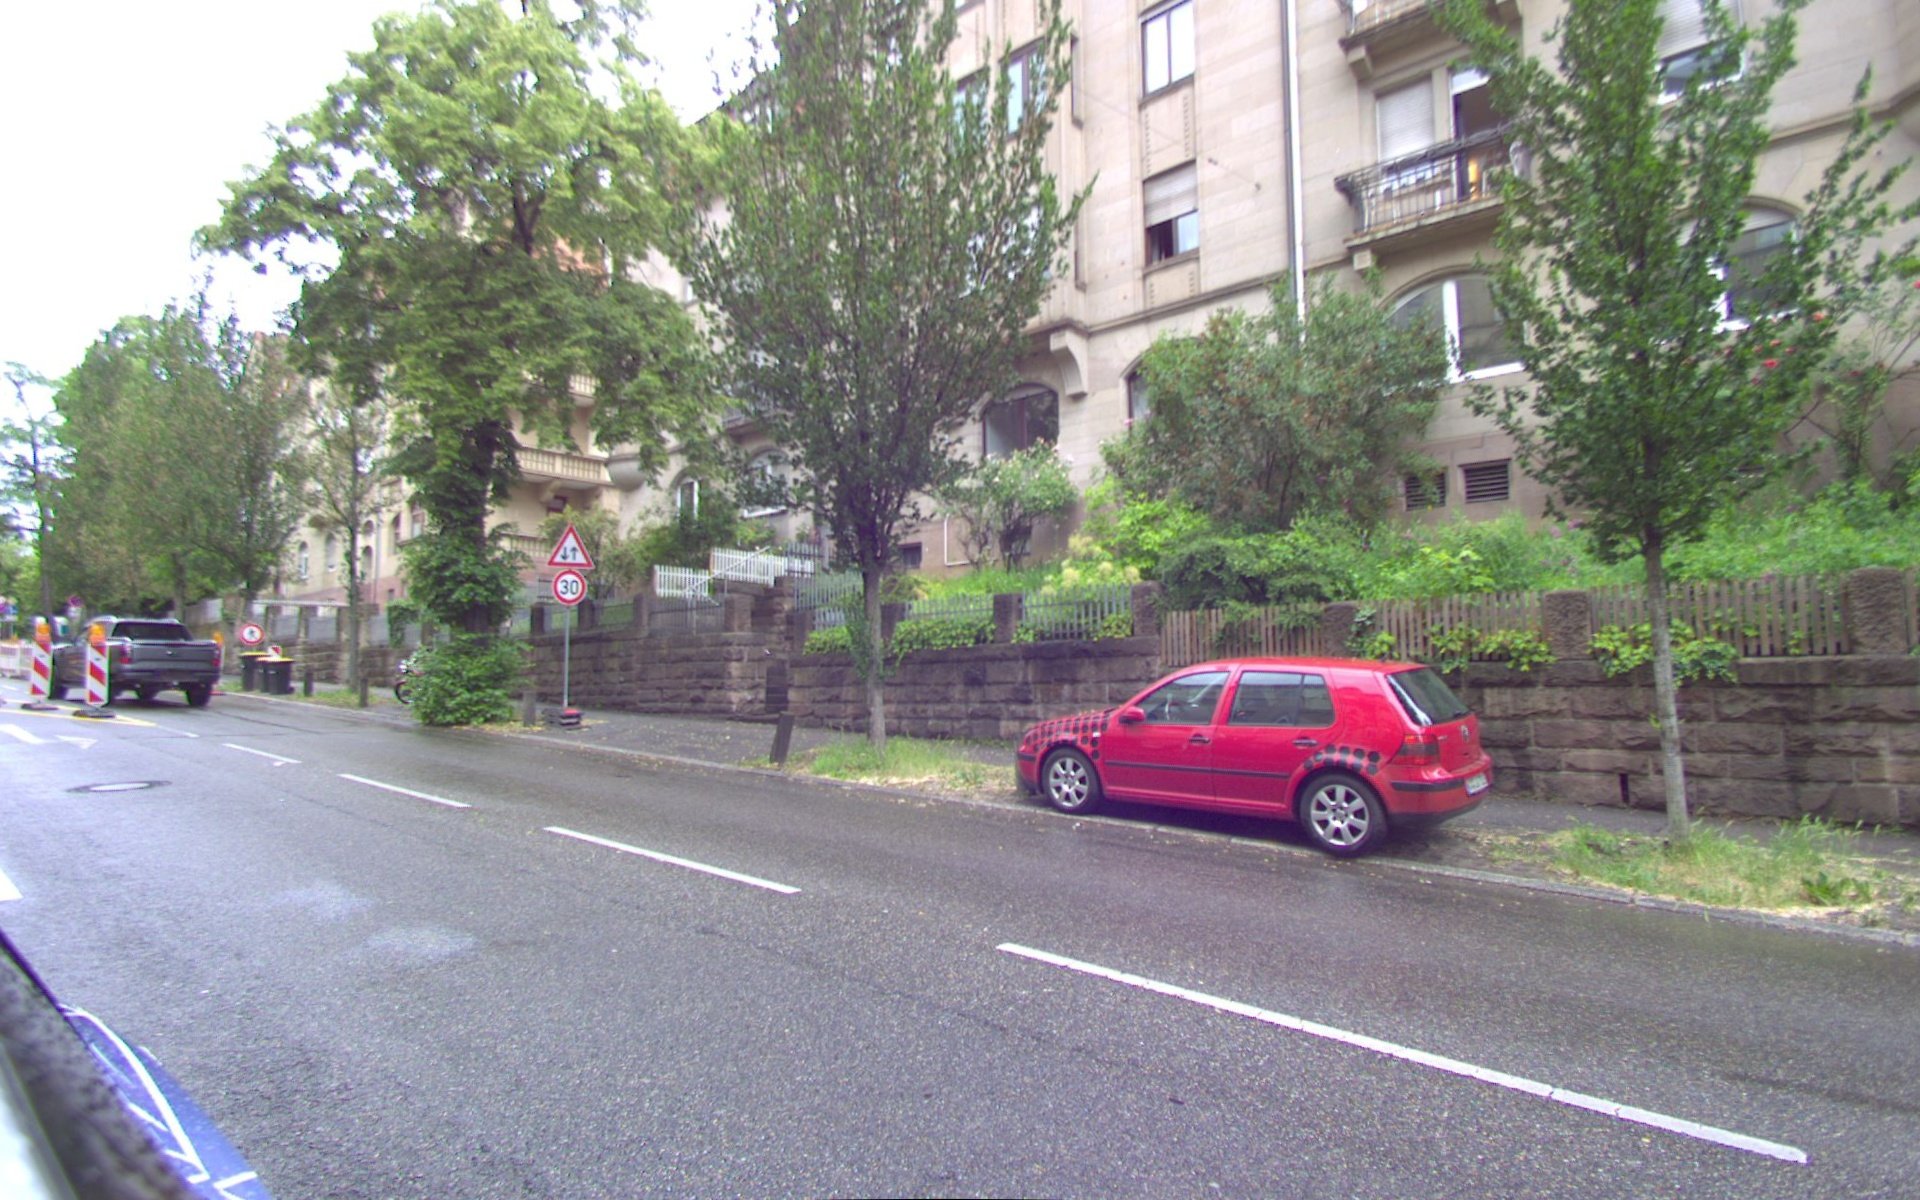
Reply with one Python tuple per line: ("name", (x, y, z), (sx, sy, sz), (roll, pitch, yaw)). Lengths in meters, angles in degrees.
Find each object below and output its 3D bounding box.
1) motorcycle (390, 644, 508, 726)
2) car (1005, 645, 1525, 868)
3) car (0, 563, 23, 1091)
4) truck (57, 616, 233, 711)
("motorcycle", (-9.710, 1.564, 19.165), (3.058, 1.425, 0.792), (-2, -2, 38))
("car", (2.460, 1.151, 8.835), (4.062, 1.462, 1.596), (-2, -3, 42))
("car", (-5.326, 0.757, 4.106), (4.520, 1.685, 1.799), (-2, -3, 42))
("truck", (-17.952, 1.385, 22.195), (5.150, 1.850, 2.049), (-2, -5, 41))
